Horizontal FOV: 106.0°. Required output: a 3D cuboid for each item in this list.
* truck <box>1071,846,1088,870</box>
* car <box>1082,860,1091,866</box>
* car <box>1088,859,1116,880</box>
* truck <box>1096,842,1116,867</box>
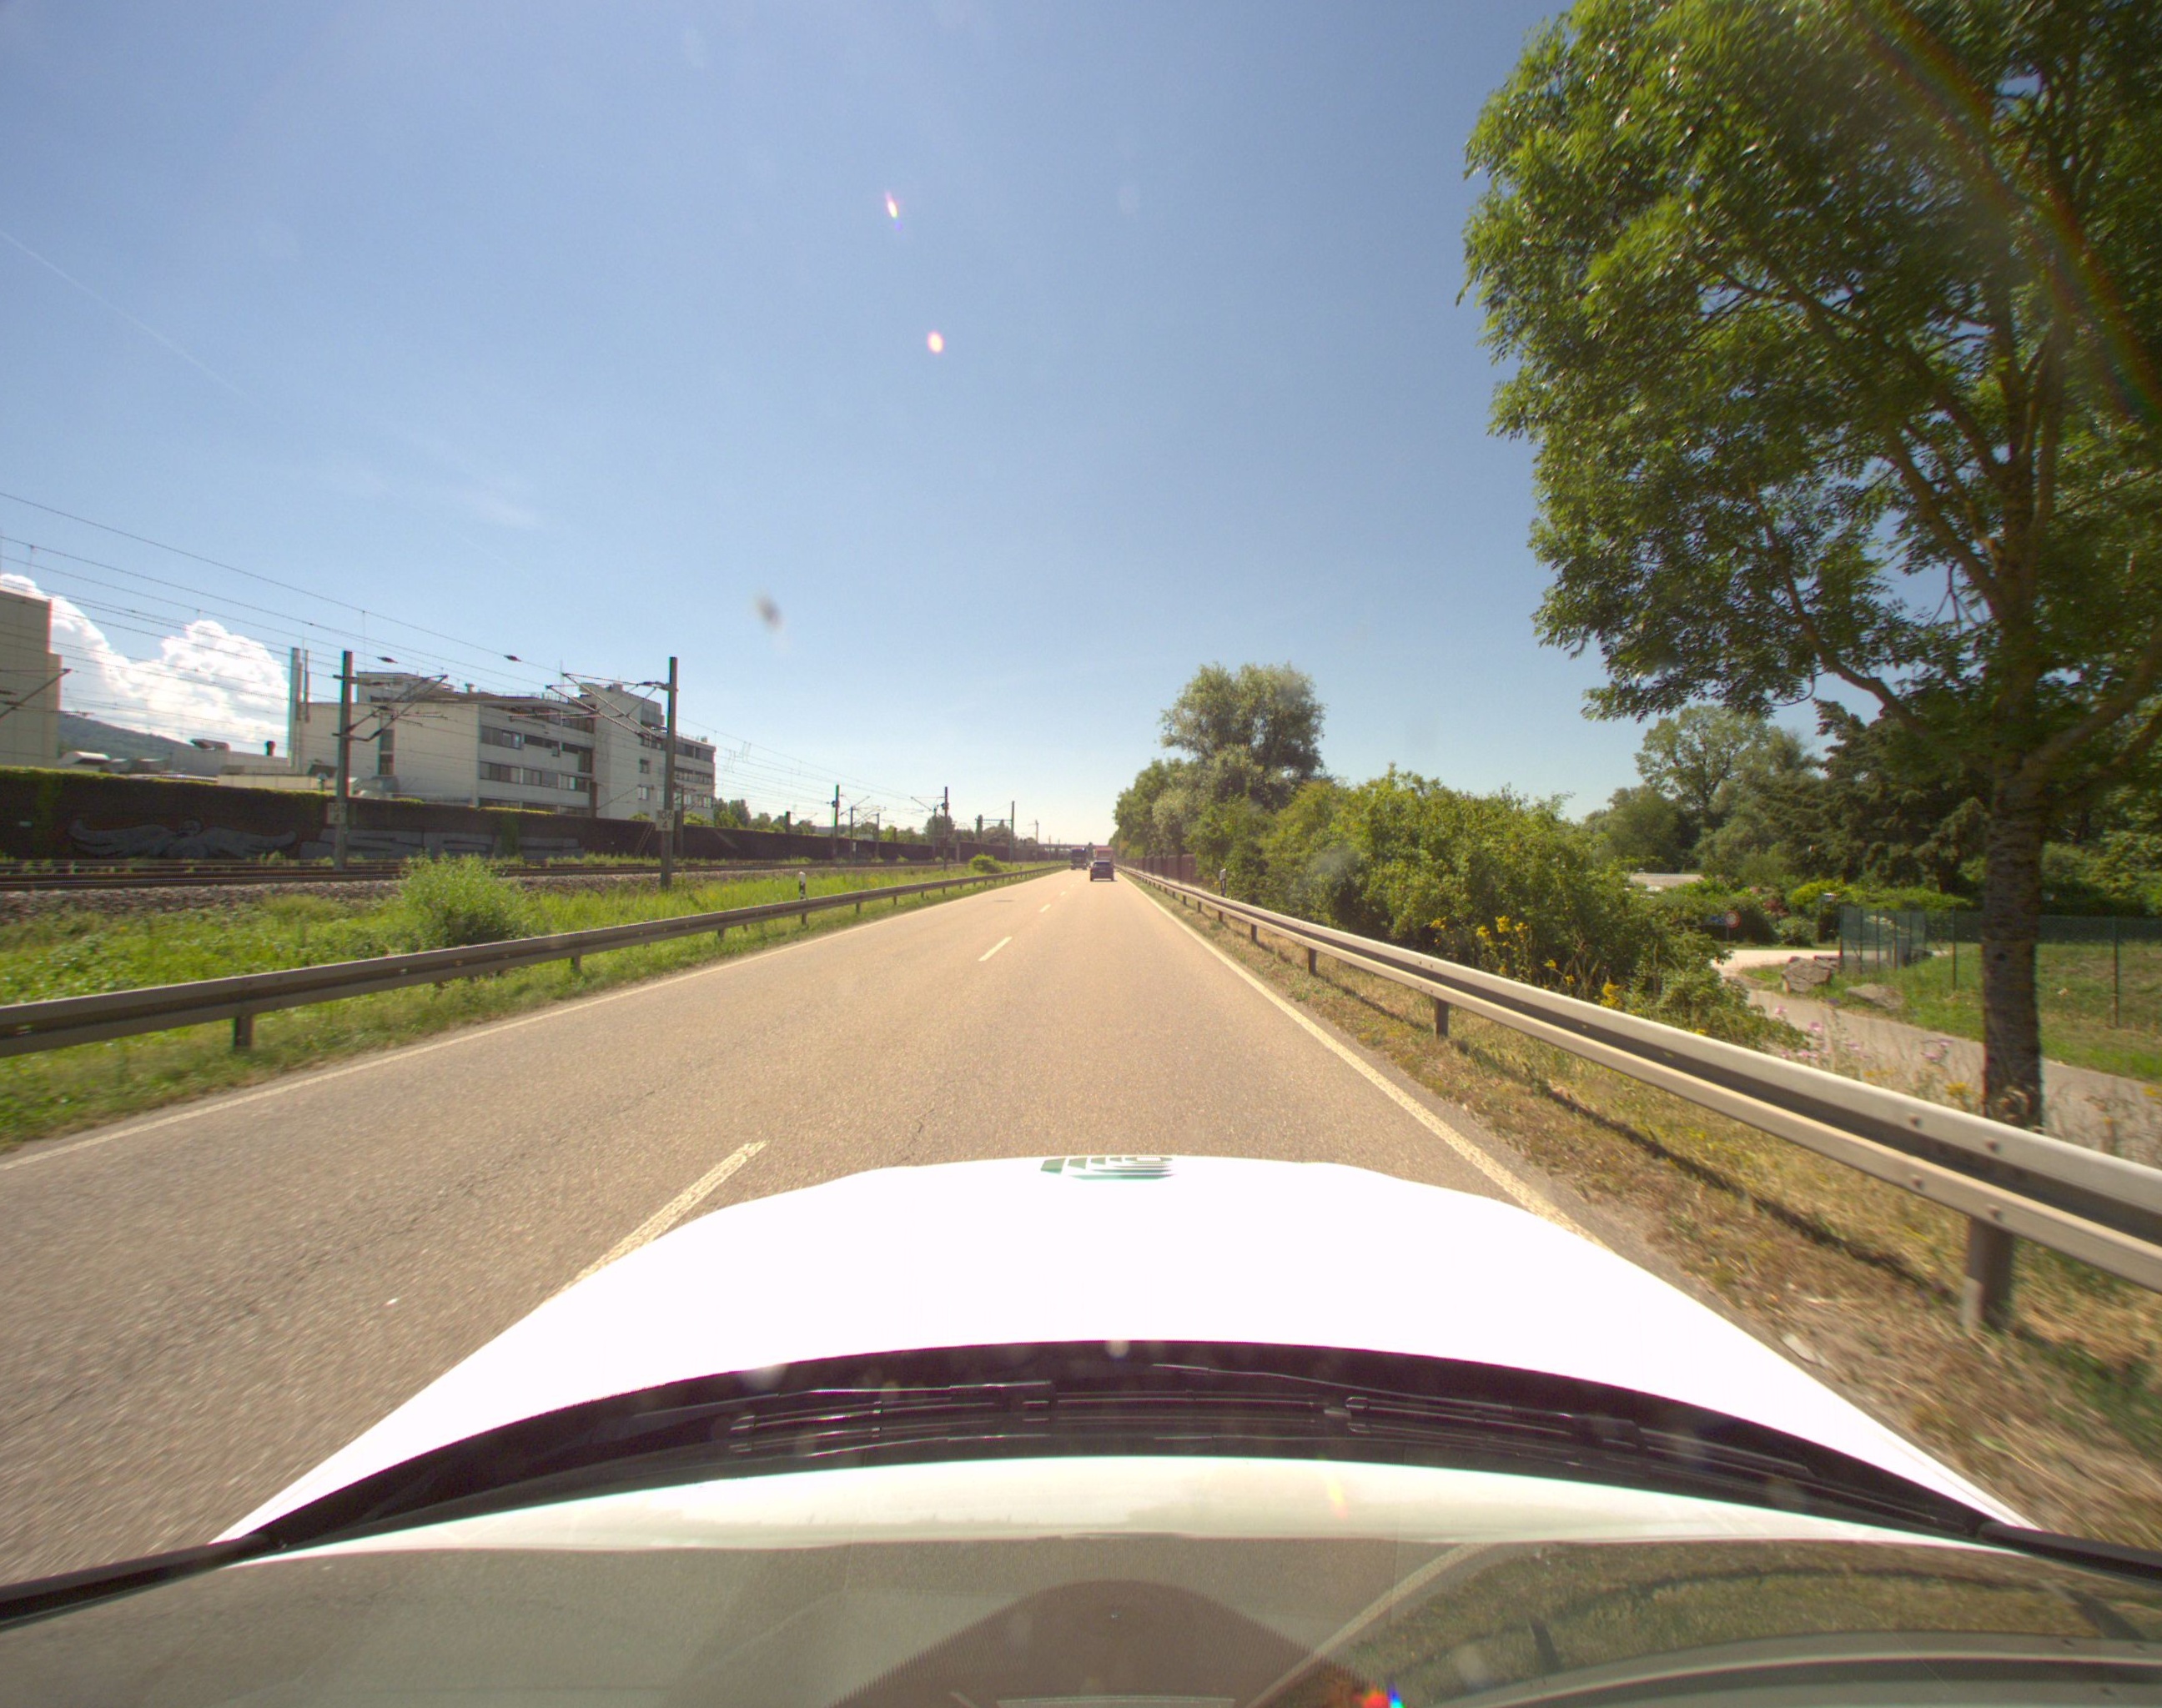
[{"bbox_3d":[-0.227,0.648,133.968,2.649,3.627,10.977,0,0,0],"label":"truck"},{"bbox_3d":[1.265,2.084,186.890,1.968,1.508,4.164,0,0,1],"label":"car"},{"bbox_3d":[1.574,1.151,61.811,1.987,1.508,3.999,0,0,-1],"label":"car"},{"bbox_3d":[3.548,0.111,115.989,2.760,3.425,10.822,0,0,2],"label":"truck"}]
